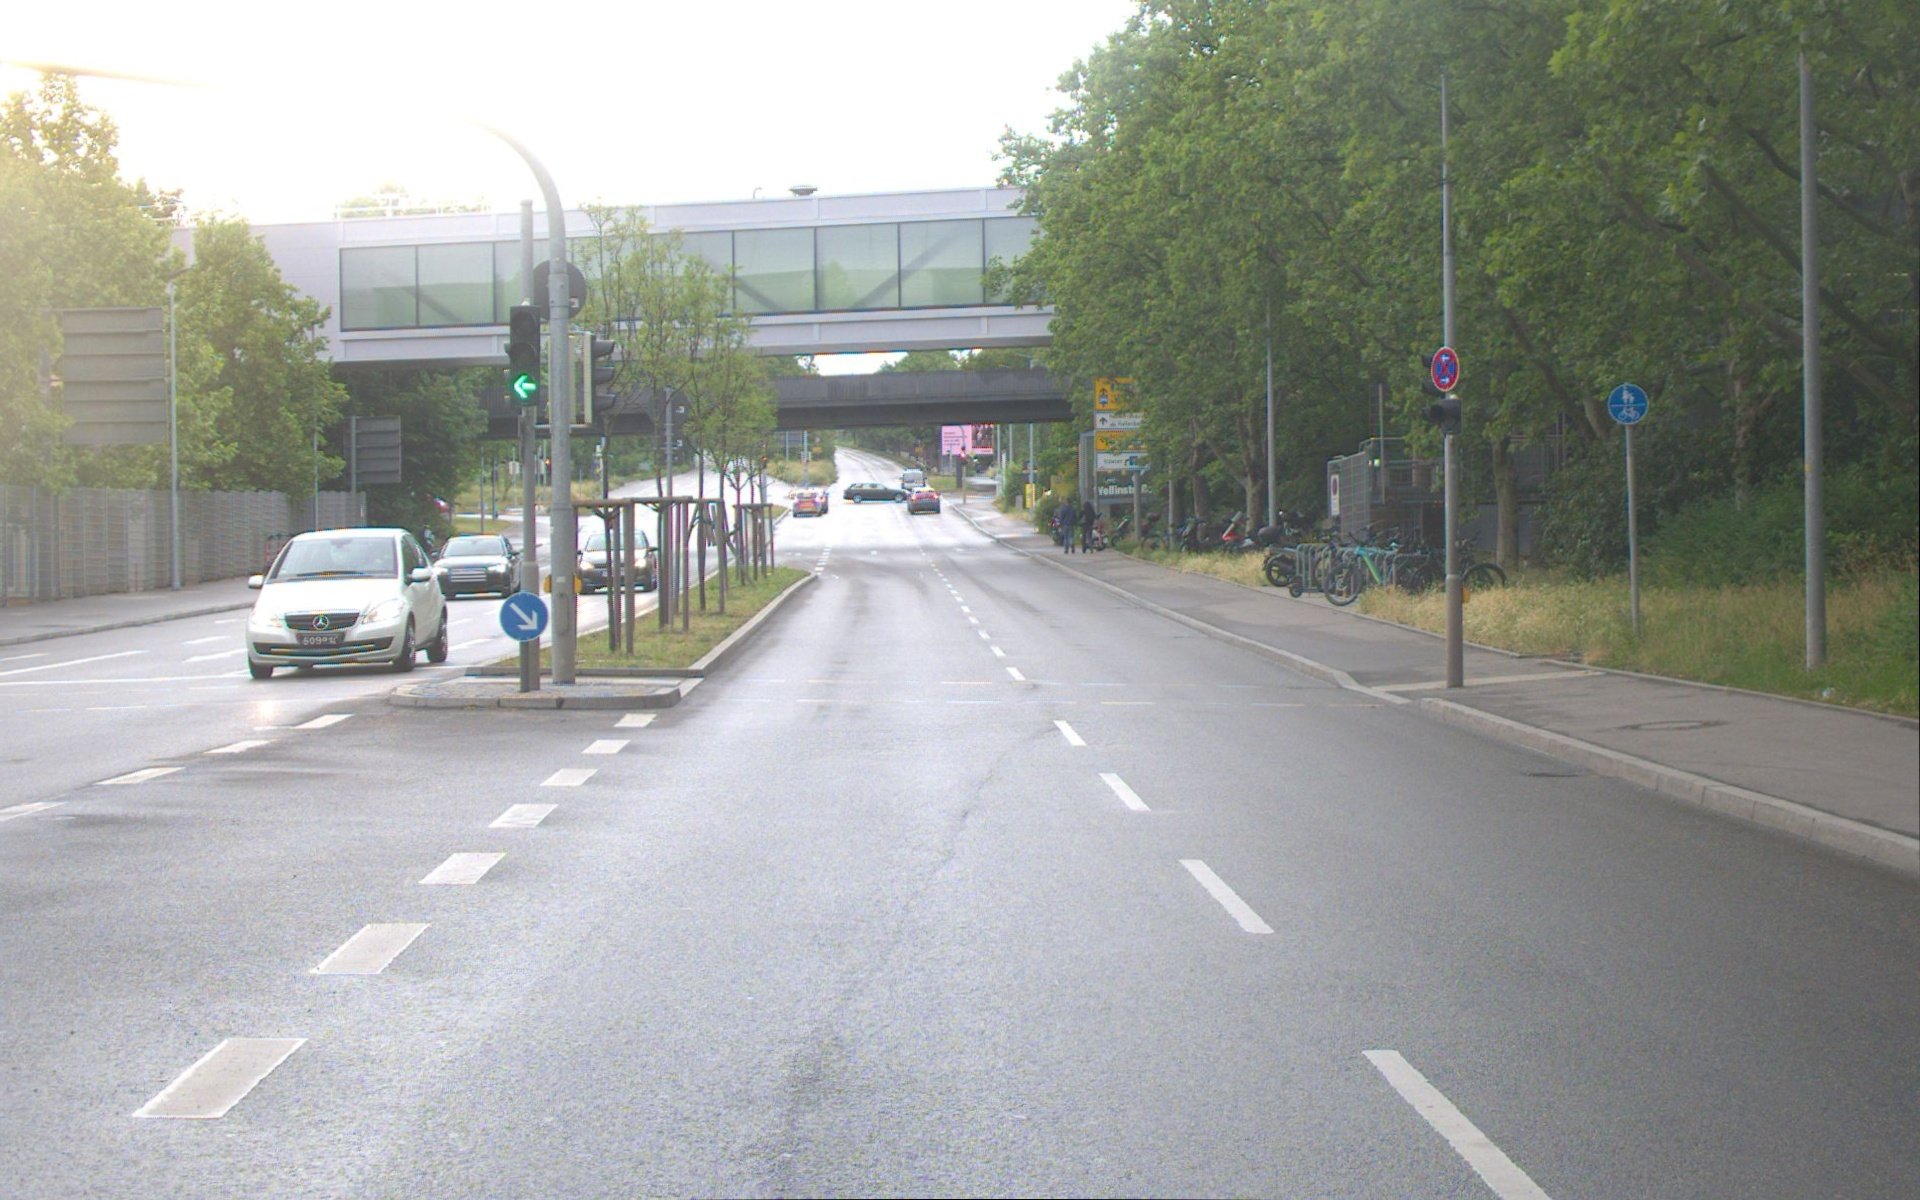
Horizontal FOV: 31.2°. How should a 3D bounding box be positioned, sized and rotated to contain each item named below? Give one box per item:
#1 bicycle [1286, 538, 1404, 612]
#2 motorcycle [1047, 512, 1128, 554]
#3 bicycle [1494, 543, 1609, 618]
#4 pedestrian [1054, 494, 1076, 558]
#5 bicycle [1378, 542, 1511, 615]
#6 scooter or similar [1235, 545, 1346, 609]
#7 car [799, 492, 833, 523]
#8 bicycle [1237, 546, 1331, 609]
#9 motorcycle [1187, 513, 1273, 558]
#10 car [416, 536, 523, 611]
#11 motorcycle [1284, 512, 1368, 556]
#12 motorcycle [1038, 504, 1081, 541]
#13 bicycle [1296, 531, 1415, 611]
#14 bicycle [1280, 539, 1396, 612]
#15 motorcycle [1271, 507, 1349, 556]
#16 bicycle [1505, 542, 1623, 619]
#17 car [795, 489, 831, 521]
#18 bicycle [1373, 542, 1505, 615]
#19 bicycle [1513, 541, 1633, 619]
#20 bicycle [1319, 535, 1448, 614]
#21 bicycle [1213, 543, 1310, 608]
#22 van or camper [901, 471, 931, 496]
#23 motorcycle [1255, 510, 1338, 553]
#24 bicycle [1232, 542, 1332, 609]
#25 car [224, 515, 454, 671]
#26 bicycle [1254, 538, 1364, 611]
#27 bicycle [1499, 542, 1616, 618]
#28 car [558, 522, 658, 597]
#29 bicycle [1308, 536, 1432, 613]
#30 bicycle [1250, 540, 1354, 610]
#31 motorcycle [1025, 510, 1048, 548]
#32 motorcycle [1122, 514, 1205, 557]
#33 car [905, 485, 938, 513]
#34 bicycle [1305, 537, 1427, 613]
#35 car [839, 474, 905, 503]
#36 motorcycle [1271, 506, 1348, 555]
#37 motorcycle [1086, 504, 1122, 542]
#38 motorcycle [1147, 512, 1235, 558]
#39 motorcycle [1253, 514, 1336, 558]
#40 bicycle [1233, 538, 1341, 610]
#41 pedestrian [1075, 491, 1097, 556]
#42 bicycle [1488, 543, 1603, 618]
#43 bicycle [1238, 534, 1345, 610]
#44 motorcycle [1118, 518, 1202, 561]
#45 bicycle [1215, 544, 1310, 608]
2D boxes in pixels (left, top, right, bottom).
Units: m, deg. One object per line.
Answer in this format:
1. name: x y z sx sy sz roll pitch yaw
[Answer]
1. bicycle: 6.806 -0.438 60.847 1.990 1.237 0.541 2 0 0
2. motorcycle: 3.874 -2.018 104.073 2.369 1.198 0.722 -1 1 7
3. bicycle: 10.879 -0.358 63.290 1.990 1.324 0.576 2 0 0
4. pedestrian: 3.307 -2.323 108.148 0.622 2.007 0.605 -2 1 0
5. bicycle: 7.584 -0.332 53.861 1.990 1.091 0.541 2 0 0
6. scooter or similar: 6.140 -0.425 63.948 1.990 1.134 0.541 2 0 0
7. car: -8.867 -5.675 211.985 1.884 1.756 3.969 2 0 0
8. bicycle: 7.147 -0.495 75.878 1.963 1.324 0.654 2 0 0
9. motorcycle: 7.608 -1.815 96.797 2.369 1.198 0.722 -1 1 7
10. car: -11.024 -0.623 77.505 1.877 1.619 3.779 -1 1 0
11. motorcycle: 10.524 -1.898 98.896 2.369 1.198 0.722 -1 1 7
12. motorcycle: 3.623 -2.826 125.354 0.790 1.307 2.377 -2 1 -19
13. bicycle: 6.911 -0.501 60.155 1.990 1.336 0.541 2 0 0
14. bicycle: 6.790 -0.440 61.796 1.990 1.237 0.541 2 0 0
15. motorcycle: 10.912 -2.135 107.036 2.369 1.471 0.722 -1 1 7
16. bicycle: 10.880 -0.356 61.946 1.990 1.324 0.576 2 0 0
17. car: -8.839 -5.697 206.741 1.993 1.756 4.000 2 0 0
18. bicycle: 7.578 -0.333 54.430 1.990 1.091 0.541 2 0 0
19. bicycle: 10.908 -0.354 61.182 1.990 1.324 0.576 2 0 0
20. bicycle: 6.879 -0.416 55.888 1.990 1.212 0.541 2 0 0
21. bicycle: 6.362 -0.512 72.657 1.963 1.324 0.654 2 0 0
22. van or camper: -3.316 -8.733 258.465 1.797 1.807 3.766 1 2 5
23. motorcycle: 9.893 -2.000 101.099 2.369 1.198 0.722 -1 1 7
24. bicycle: 6.595 -0.502 70.365 1.960 1.324 0.576 2 0 0
25. car: -6.883 -0.113 38.443 1.877 1.619 3.779 -1 1 0
26. bicycle: 6.595 -0.482 65.076 1.990 1.324 0.576 2 0 0
27. bicycle: 10.873 -0.357 62.611 1.990 1.324 0.576 2 0 0
28. car: -7.986 -0.938 78.229 1.877 1.619 3.779 -1 1 0
29. bicycle: 6.920 -0.427 58.078 1.990 1.229 0.541 2 0 0
30. bicycle: 6.805 -0.493 68.416 1.990 1.324 0.576 2 0 0
31. motorcycle: 3.202 -2.985 144.636 0.790 1.528 2.377 -2 1 -2
32. motorcycle: 6.017 -1.911 101.535 2.369 1.198 0.722 -1 1 7
33. car: -2.247 -5.965 202.989 1.875 1.492 4.068 2 0 0
34. bicycle: 6.927 -0.432 58.750 1.990 1.237 0.541 2 0 0
35. car: -6.039 -7.665 236.236 4.510 1.756 1.905 2 0 -1
36. motorcycle: 11.004 -2.178 108.270 2.369 1.471 0.722 -1 1 7
37. motorcycle: 5.078 -2.724 121.672 0.790 1.307 2.377 -2 1 -9
38. motorcycle: 6.388 -1.804 95.103 2.369 1.198 0.722 -1 1 7
39. motorcycle: 9.759 -1.862 100.220 2.369 1.198 0.722 -1 1 7
40. bicycle: 6.262 -0.493 65.885 1.990 1.324 0.576 2 0 0
41. pedestrian: 3.953 -2.404 108.174 0.622 2.007 0.605 -2 1 0
42. bicycle: 10.882 -0.359 63.929 1.990 1.324 0.576 2 0 0
43. bicycle: 6.514 -0.551 67.562 1.990 1.425 0.723 2 0 0
44. motorcycle: 5.804 -1.760 99.765 2.369 1.198 0.722 -1 1 7
45. bicycle: 6.533 -0.510 74.374 1.963 1.324 0.654 2 0 0
